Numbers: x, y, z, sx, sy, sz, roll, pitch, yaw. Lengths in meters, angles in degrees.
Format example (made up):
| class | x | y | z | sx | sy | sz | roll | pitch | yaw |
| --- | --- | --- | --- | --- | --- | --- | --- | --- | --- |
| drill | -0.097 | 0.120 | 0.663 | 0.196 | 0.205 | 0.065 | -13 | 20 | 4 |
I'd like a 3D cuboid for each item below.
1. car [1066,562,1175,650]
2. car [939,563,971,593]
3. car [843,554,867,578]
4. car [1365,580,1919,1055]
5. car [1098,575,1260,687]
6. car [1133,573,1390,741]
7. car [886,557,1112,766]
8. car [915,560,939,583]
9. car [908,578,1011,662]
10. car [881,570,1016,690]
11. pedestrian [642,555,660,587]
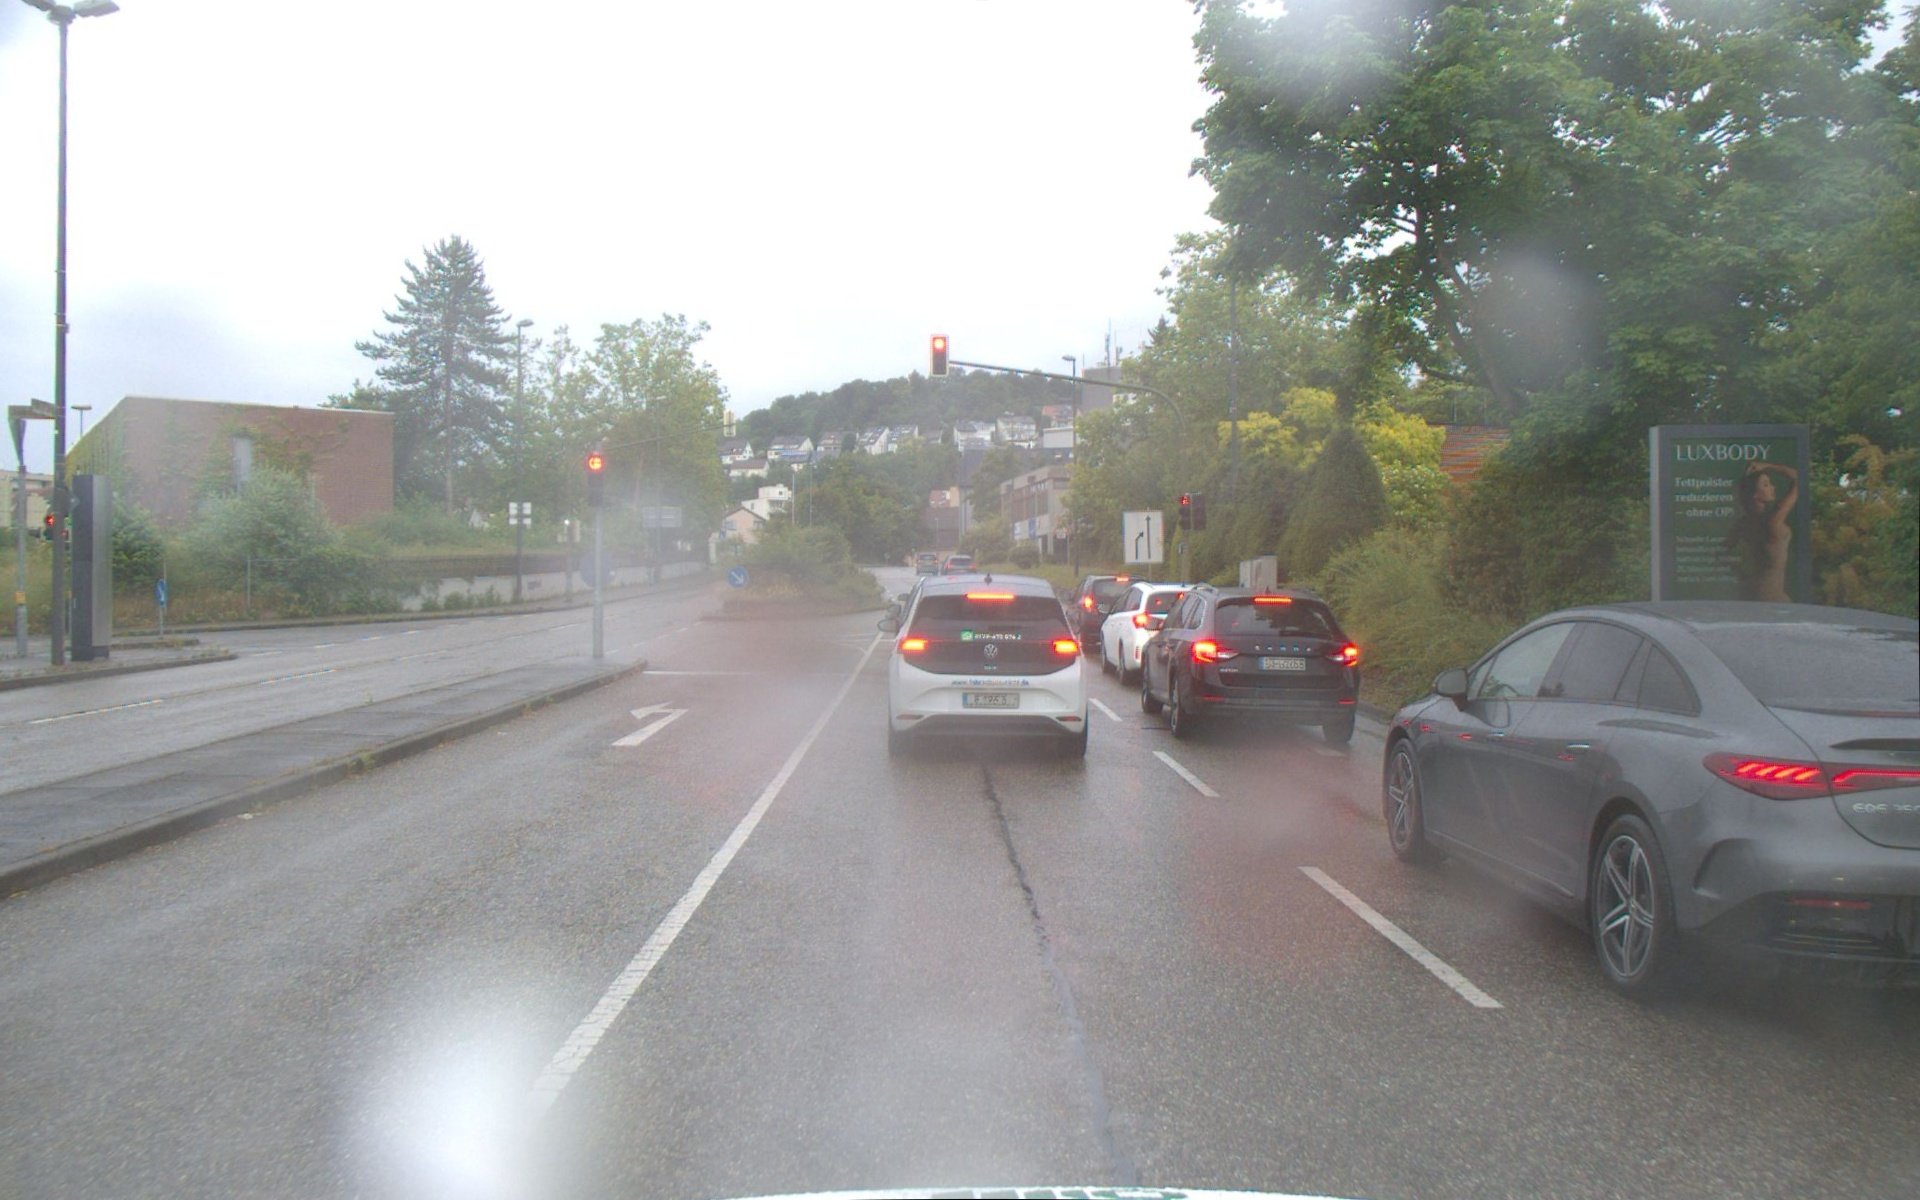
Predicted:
| class | x | y | z | sx | sy | sz | roll | pitch | yaw |
| --- | --- | --- | --- | --- | --- | --- | --- | --- | --- |
| car | 3.166 | 0.104 | 33.321 | 1.739 | 1.609 | 4.000 | 1 | 0 | 0 |
| car | -0.302 | -1.215 | 93.712 | 1.739 | 1.609 | 4.000 | -2 | 0 | 0 |
| car | -9.530 | -3.057 | 150.197 | 1.953 | 2.049 | 3.999 | 1 | 0 | 0 |
| car | 3.449 | 0.693 | 7.756 | 1.800 | 1.492 | 4.807 | 2 | 1 | -1 |
| car | 3.210 | 0.403 | 24.977 | 1.800 | 1.492 | 4.116 | 2 | 1 | -1 |
| car | 3.003 | 0.488 | 17.394 | 1.800 | 1.492 | 4.349 | 2 | 1 | -1 |
| car | 0.274 | 0.462 | 15.810 | 1.800 | 1.657 | 4.615 | 2 | 1 | -1 |
| car | -2.422 | -2.121 | 122.189 | 1.739 | 1.609 | 4.000 | -2 | 0 | 0 |
| car | -0.042 | 0.334 | 31.226 | 1.800 | 1.424 | 3.830 | 2 | 1 | -1 |
| car | -0.200 | 0.376 | 24.629 | 1.800 | 1.582 | 4.174 | 2 | 1 | -1 |
| pedestrian | -15.905 | -1.475 | 85.060 | 0.744 | 1.595 | 0.825 | -2 | 0 | -1 |
